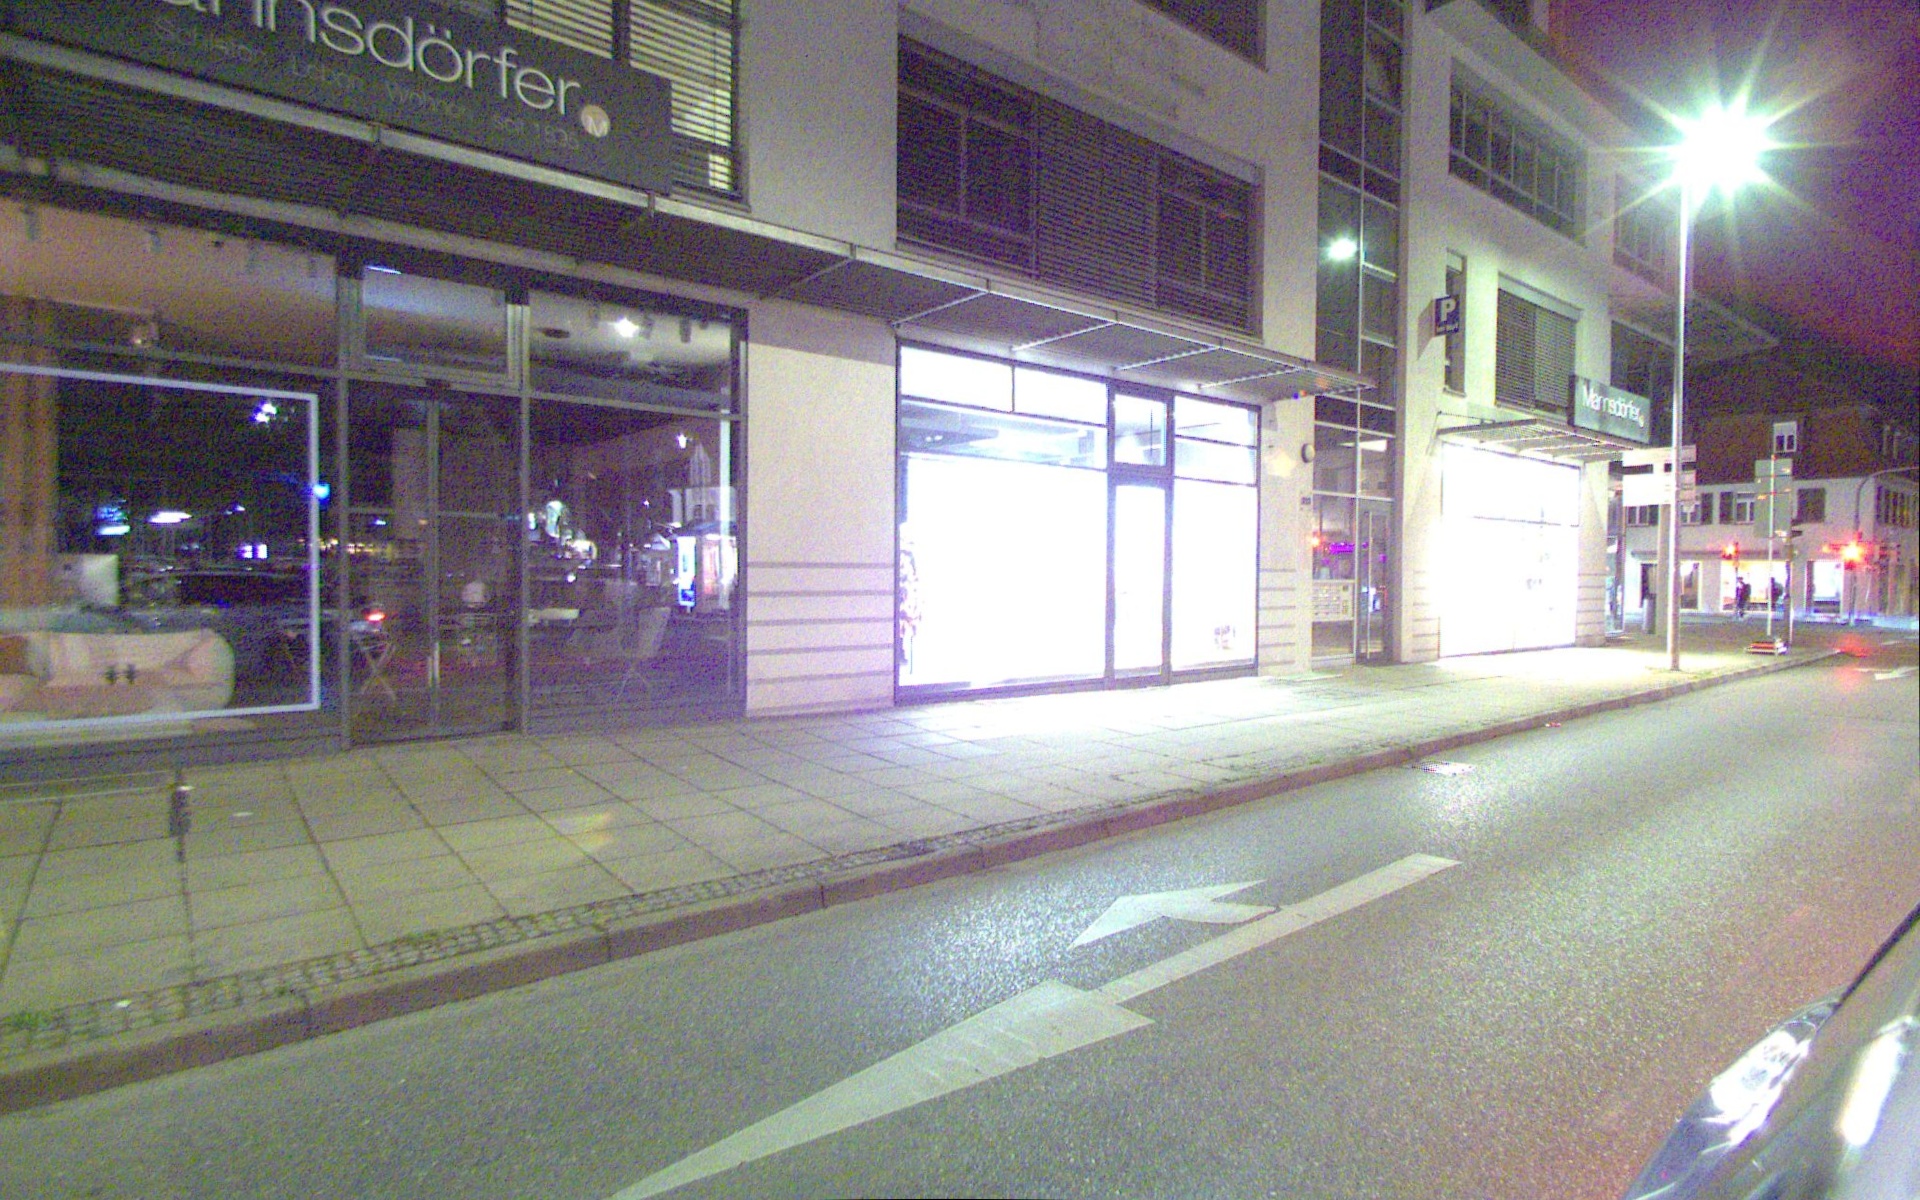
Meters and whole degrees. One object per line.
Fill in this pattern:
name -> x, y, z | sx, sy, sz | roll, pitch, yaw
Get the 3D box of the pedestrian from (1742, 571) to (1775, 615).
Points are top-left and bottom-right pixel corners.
pedestrian -> 32.287, -0.281, 40.939 | 0.635, 1.755, 0.877 | 0, 2, -37

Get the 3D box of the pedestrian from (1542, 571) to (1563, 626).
pedestrian -> 18.566, -0.056, 31.718 | 0.478, 1.708, 0.407 | 0, 0, -36

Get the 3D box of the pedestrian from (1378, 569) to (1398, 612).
pedestrian -> 17.482, -0.390, 41.360 | 0.556, 1.738, 0.525 | 0, 0, -34
